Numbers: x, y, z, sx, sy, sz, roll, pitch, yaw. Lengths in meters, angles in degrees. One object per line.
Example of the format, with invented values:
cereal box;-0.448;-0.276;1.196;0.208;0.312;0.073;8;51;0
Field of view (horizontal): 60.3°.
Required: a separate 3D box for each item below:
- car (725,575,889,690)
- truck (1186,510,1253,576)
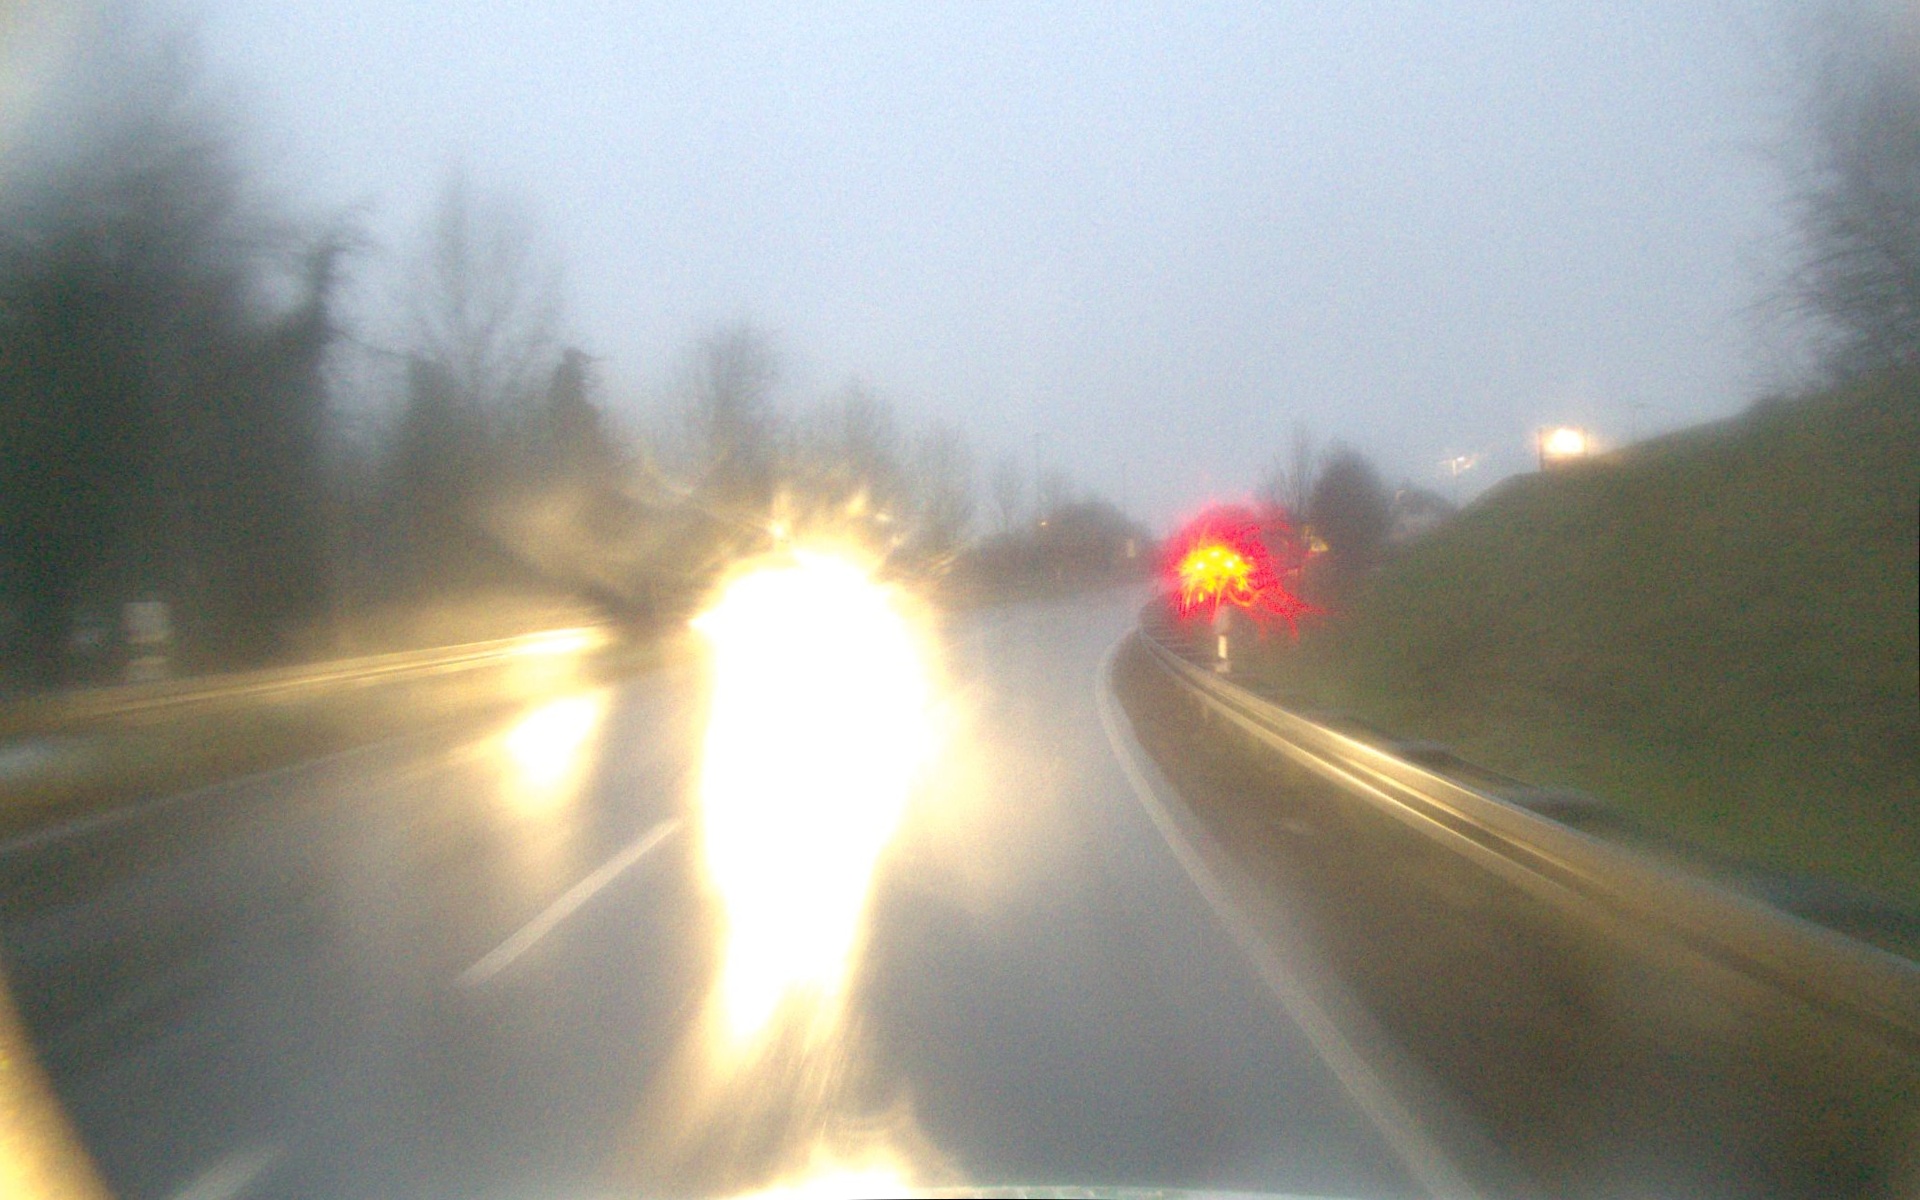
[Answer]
car;-2.524;0.476;28.481;1.952;1.649;4.601;-4;1;4
truck;12.837;-2.799;81.390;2.478;2.918;5.928;-4;1;15
